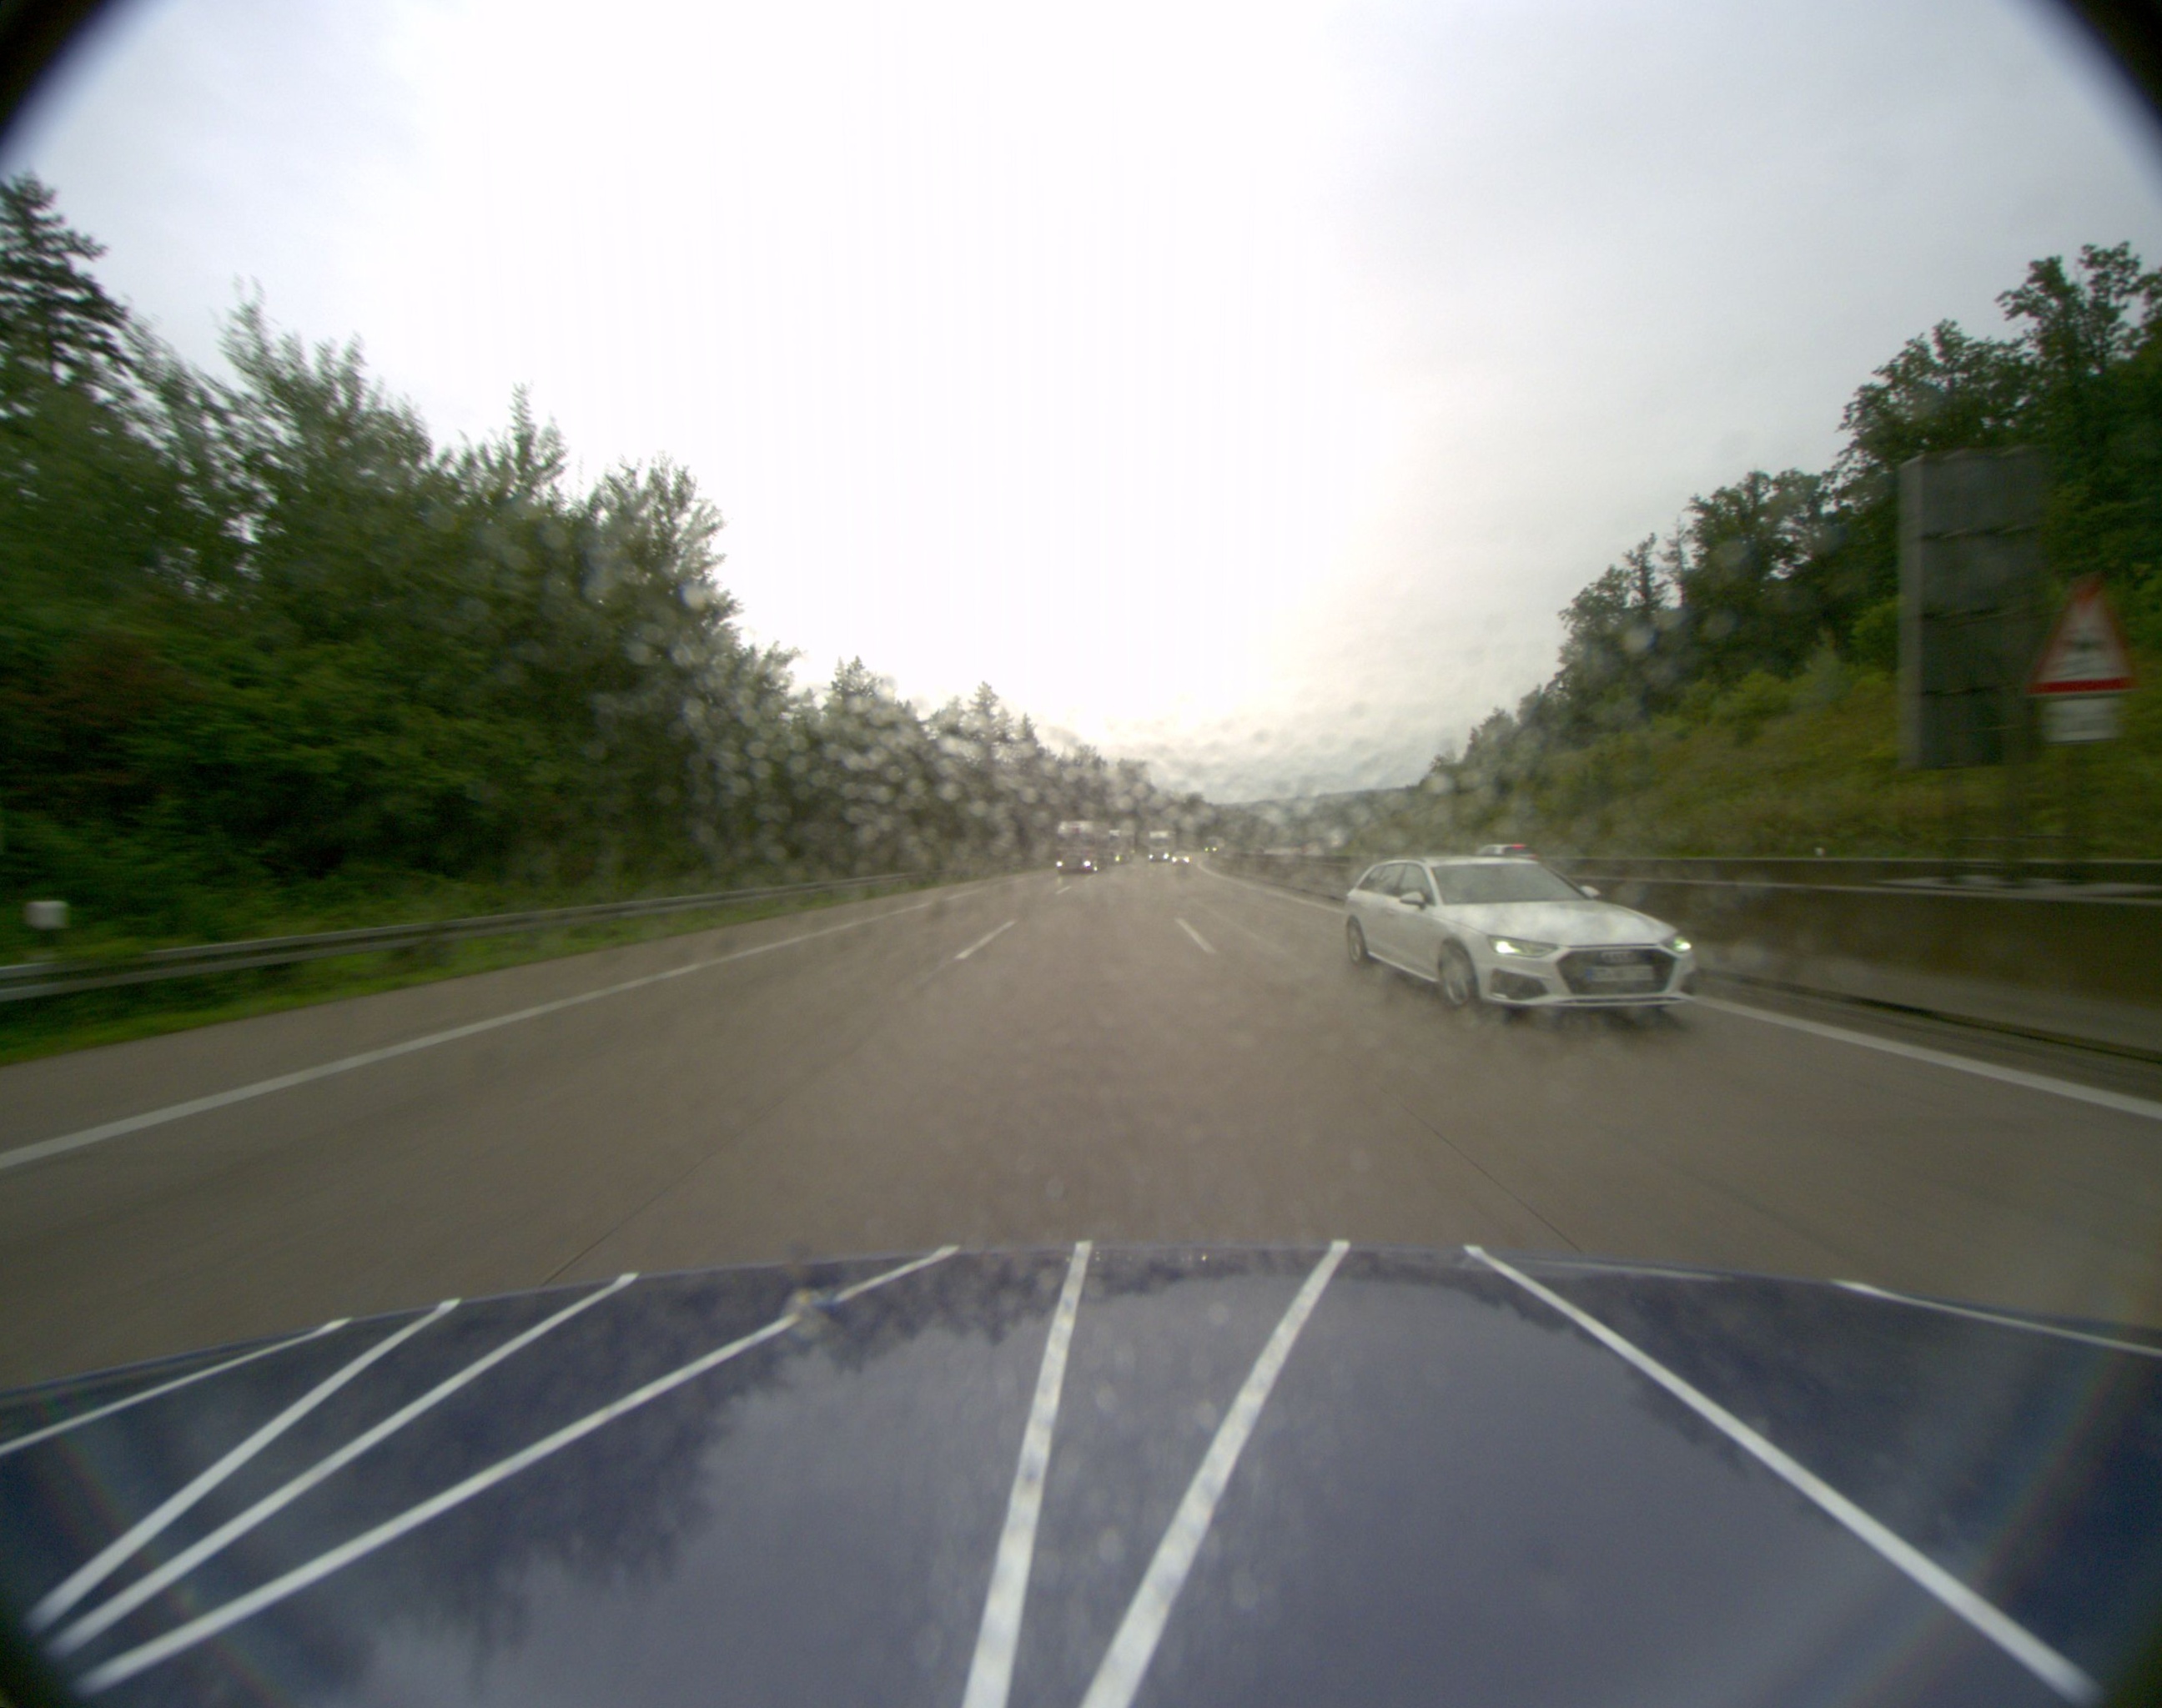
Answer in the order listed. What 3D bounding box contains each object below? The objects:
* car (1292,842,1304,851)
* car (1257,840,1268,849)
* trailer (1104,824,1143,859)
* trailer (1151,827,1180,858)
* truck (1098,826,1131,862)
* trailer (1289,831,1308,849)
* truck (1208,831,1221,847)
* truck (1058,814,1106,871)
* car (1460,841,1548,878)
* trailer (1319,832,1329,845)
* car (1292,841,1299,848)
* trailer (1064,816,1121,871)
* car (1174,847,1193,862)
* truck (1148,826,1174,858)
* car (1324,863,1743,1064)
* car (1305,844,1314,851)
[{"bbox_3d":[39.424,-1.349,137.981,1.734,1.567,4.247,-1,1,11],"label":"car"},{"bbox_3d":[37.504,-1.960,157.041,1.734,1.766,4.761,-1,1,8],"label":"car"},{"bbox_3d":[5.597,-1.561,96.719,2.738,4.080,13.693,-1,1,12],"label":"trailer"},{"bbox_3d":[12.356,-1.670,110.142,2.684,4.017,13.716,-3,0,12],"label":"trailer"},{"bbox_3d":[4.044,-1.182,89.983,2.803,4.080,5.972,-1,1,13],"label":"truck"},{"bbox_3d":[48.632,-3.095,170.109,2.912,3.866,11.043,-1,1,10],"label":"trailer"},{"bbox_3d":[35.895,-3.887,203.920,2.735,4.127,8.629,-1,0,13],"label":"truck"},{"bbox_3d":[0.165,-0.815,57.501,2.379,3.930,6.165,-3,0,10],"label":"truck"},{"bbox_3d":[18.646,0.218,33.698,1.781,1.509,4.000,-1,1,3],"label":"car"},{"bbox_3d":[77.734,-4.909,242.765,2.930,3.938,13.480,-1,1,18],"label":"trailer"},{"bbox_3d":[61.597,-2.755,218.074,1.733,1.766,4.764,-1,1,18],"label":"car"},{"bbox_3d":[1.180,-0.751,62.780,2.375,3.930,12.531,-4,-1,11],"label":"trailer"},{"bbox_3d":[10.564,0.016,78.629,1.849,1.474,4.451,-1,0,6],"label":"car"},{"bbox_3d":[10.904,-1.631,103.066,2.725,4.017,5.757,-3,0,12],"label":"truck"},{"bbox_3d":[4.207,0.859,8.221,1.716,1.399,4.936,-1,0,2],"label":"car"},{"bbox_3d":[64.085,-1.837,212.814,2.105,2.002,4.003,-1,1,12],"label":"car"}]
